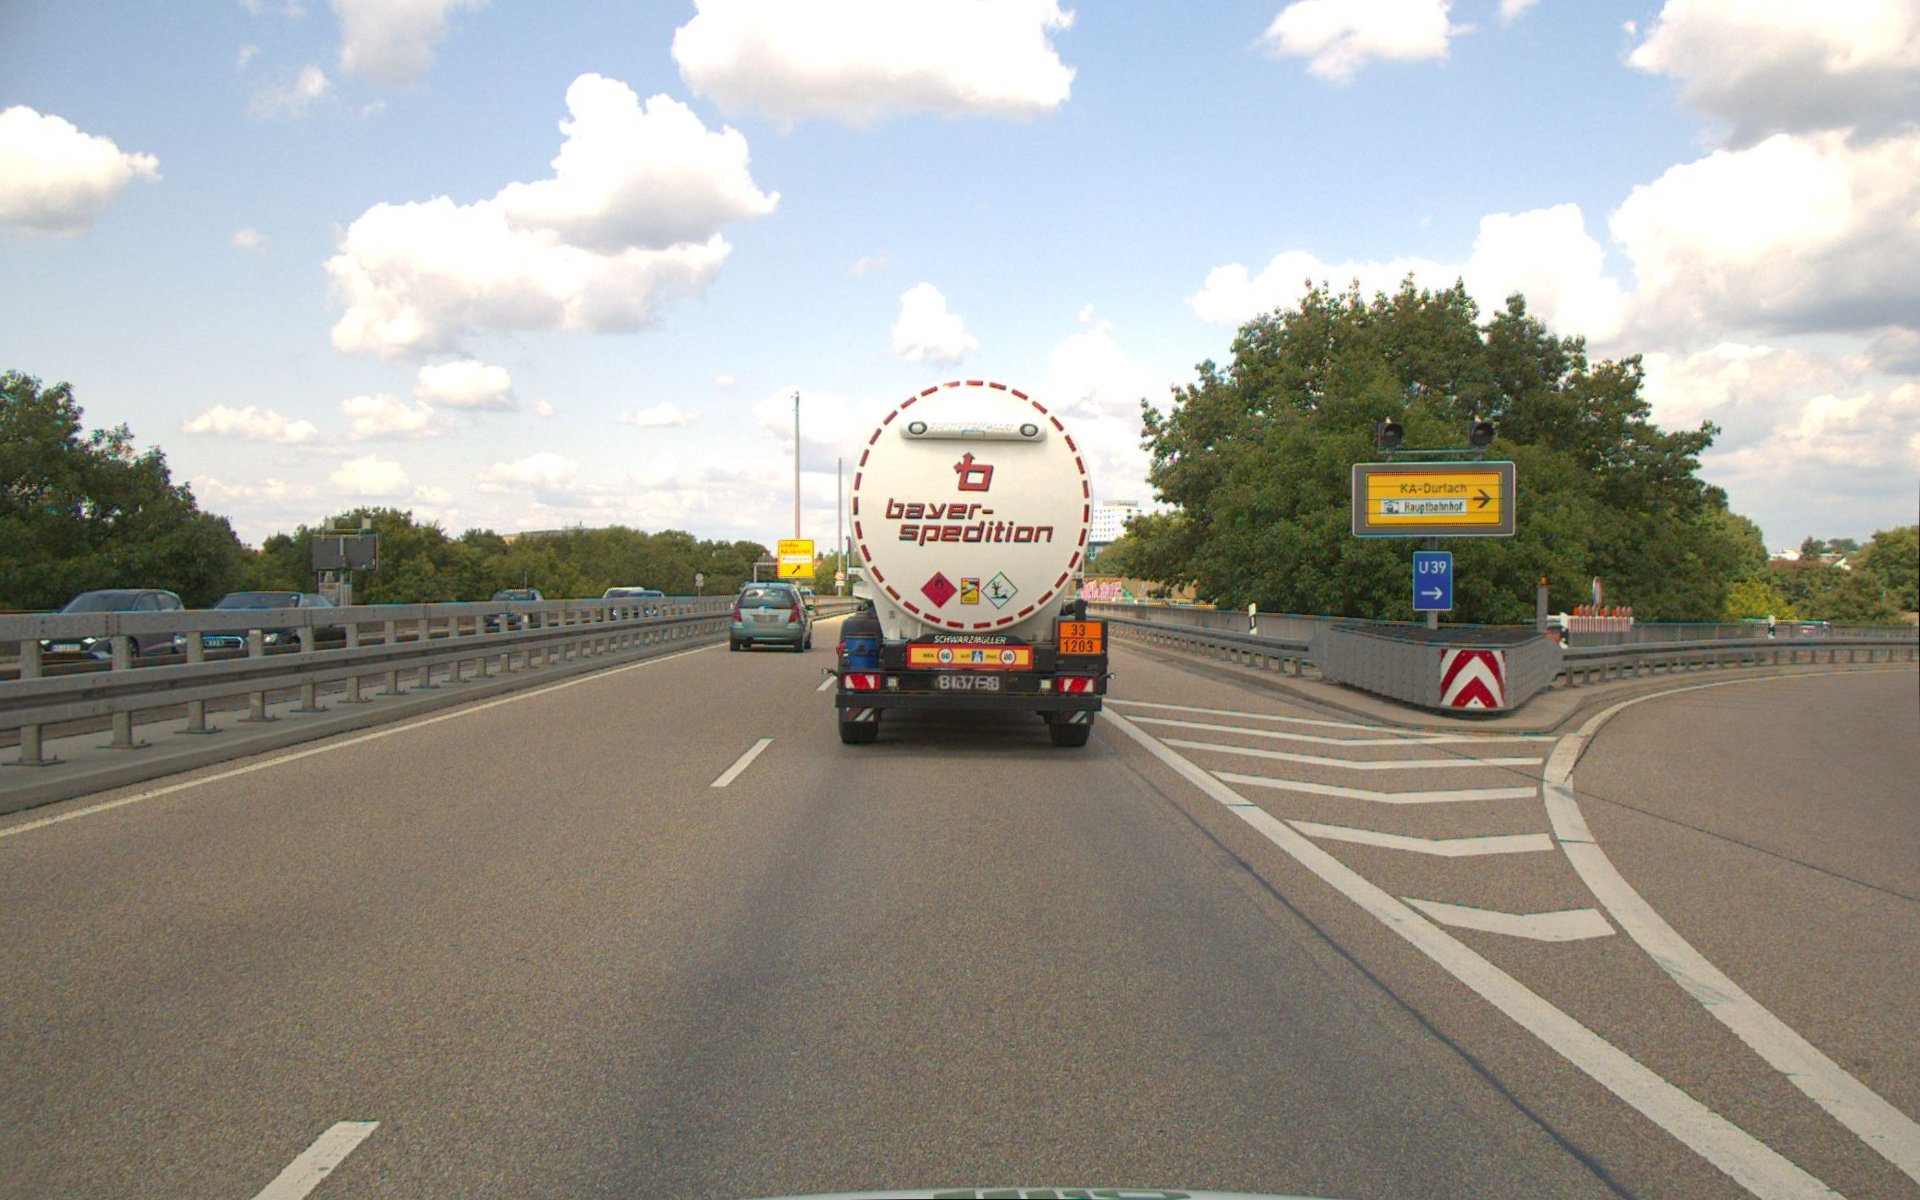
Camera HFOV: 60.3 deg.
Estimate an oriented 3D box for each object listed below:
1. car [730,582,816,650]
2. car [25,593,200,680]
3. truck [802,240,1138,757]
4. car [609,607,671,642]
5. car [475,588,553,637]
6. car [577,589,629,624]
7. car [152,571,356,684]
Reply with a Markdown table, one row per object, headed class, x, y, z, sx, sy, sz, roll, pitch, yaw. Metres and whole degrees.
| class | x | y | z | sx | sy | sz | roll | pitch | yaw |
| --- | --- | --- | --- | --- | --- | --- | --- | --- | --- |
| car | -4.462 | 0.342 | 39.966 | 1.712 | 1.558 | 3.999 | 0 | 1 | -2 |
| car | -15.962 | 0.648 | 31.357 | 1.566 | 1.500 | 3.629 | -2 | 0 | -3 |
| truck | -0.036 | -0.897 | 18.477 | 2.837 | 4.445 | 8.026 | 1 | 0 | -2 |
| car | -12.087 | 0.910 | 62.611 | 1.647 | 1.206 | 3.999 | 1 | 0 | -2 |
| car | -16.028 | 0.431 | 59.599 | 1.785 | 1.667 | 3.999 | 1 | 0 | -2 |
| car | -17.980 | 0.291 | 83.449 | 1.853 | 1.668 | 4.510 | 1 | 0 | -3 |
| car | -11.036 | 0.393 | 26.166 | 1.642 | 1.599 | 4.058 | 1 | 0 | -3 |
